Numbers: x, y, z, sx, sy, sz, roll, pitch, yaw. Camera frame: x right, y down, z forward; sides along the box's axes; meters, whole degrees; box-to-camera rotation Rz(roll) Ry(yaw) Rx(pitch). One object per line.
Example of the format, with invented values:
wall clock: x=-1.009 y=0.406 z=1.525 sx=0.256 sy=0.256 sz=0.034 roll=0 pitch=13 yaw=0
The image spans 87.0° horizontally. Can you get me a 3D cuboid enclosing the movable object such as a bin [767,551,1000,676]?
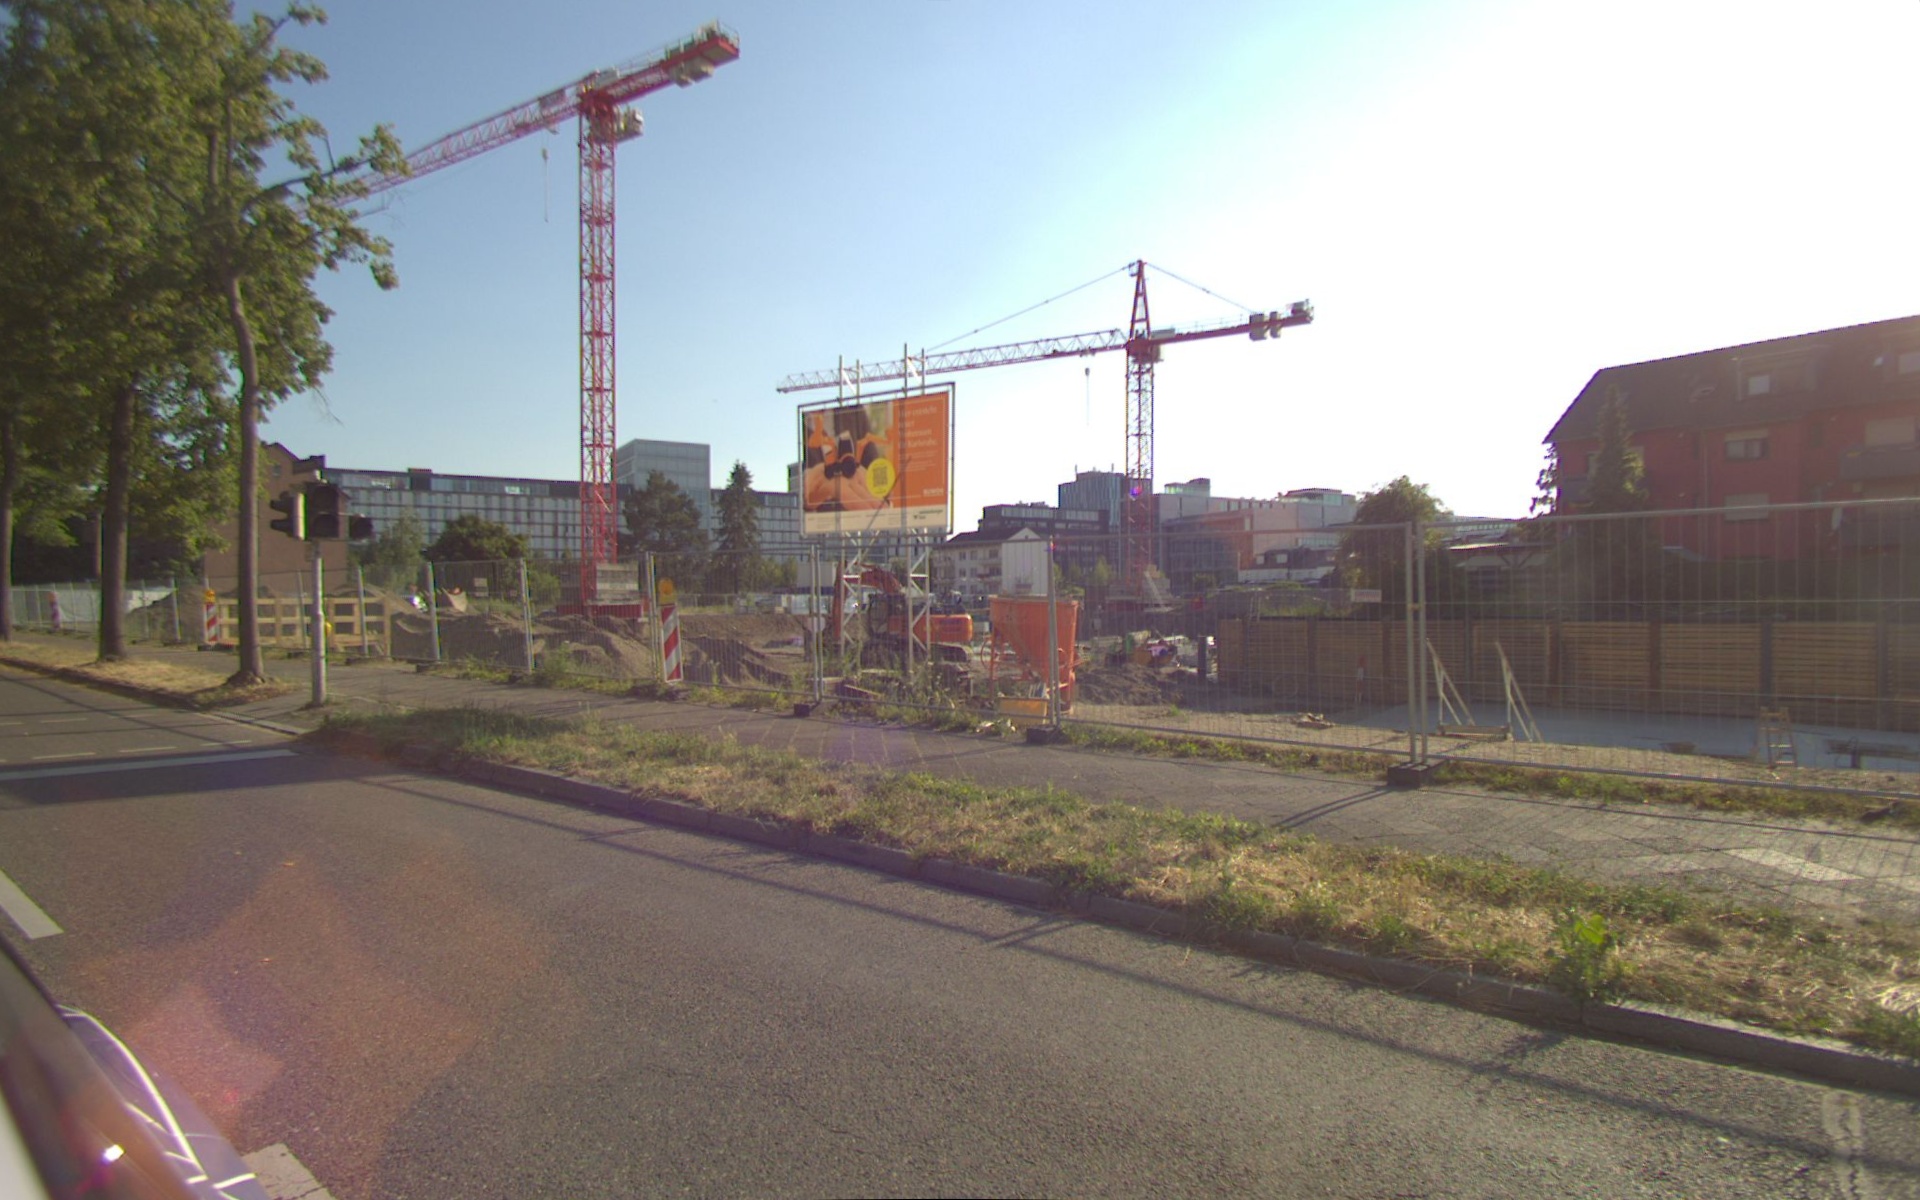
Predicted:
movable object such as a bin: x=-3.930 y=0.351 z=47.443 sx=4.039 sy=5.101 sz=12.236 roll=-3 pitch=3 yaw=-43
